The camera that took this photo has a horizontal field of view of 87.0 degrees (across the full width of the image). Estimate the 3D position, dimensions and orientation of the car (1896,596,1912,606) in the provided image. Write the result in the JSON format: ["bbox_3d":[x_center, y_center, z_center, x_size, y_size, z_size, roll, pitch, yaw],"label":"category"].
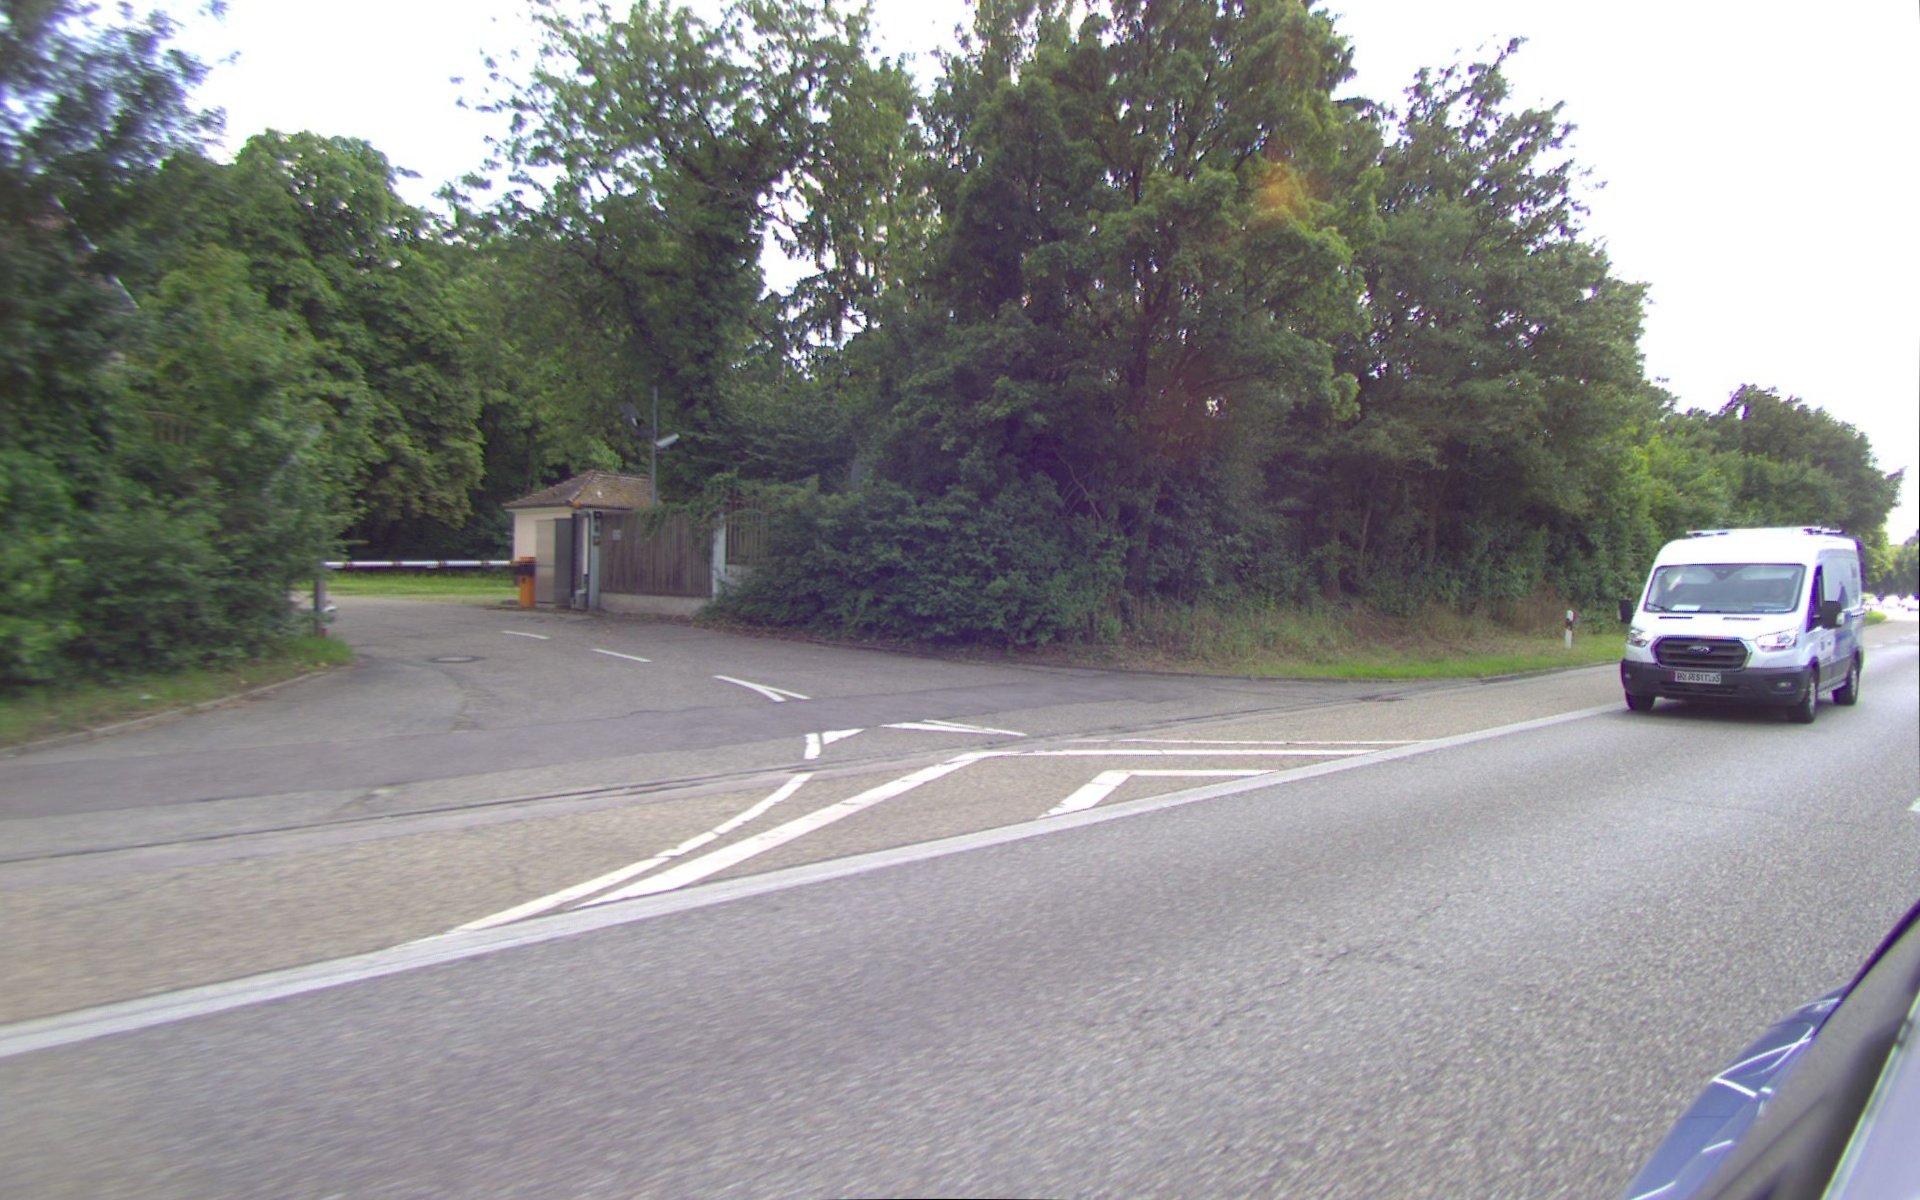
[{"bbox_3d":[157.481,0.168,168.872,1.780,1.540,3.939,2,2,42],"label":"car"}]

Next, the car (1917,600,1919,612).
[{"bbox_3d":[127.459,0.758,133.434,1.781,1.540,3.936,2,2,44],"label":"car"}]

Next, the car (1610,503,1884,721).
[{"bbox_3d":[11.217,0.134,14.269,5.187,2.539,2.102,0,0,-41],"label":"car"}]
